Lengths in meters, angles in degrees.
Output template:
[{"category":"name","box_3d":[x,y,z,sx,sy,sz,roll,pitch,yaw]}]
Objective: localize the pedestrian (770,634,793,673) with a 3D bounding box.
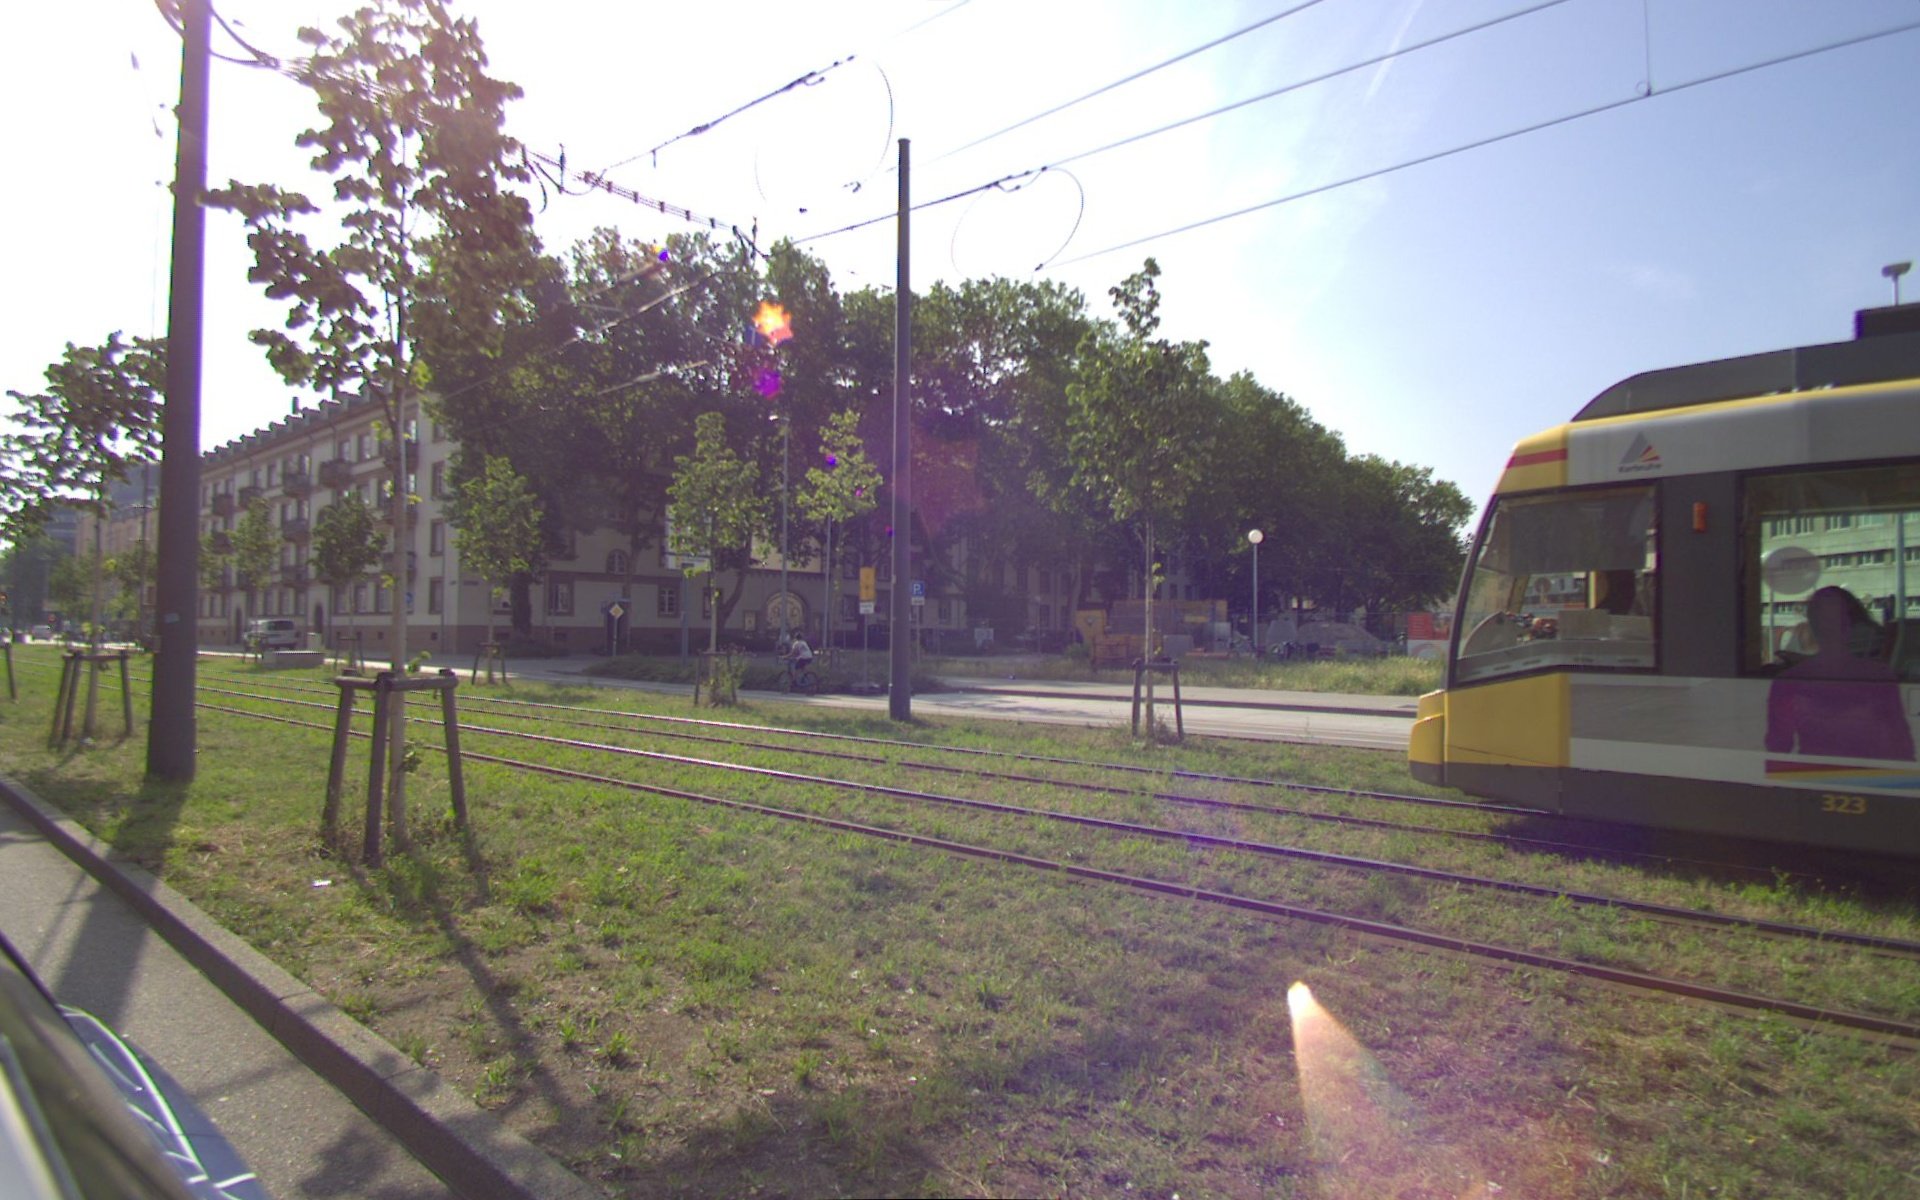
[{"category":"pedestrian","box_3d":[-7.743,2.304,43.862,0.673,1.690,0.731,-1,-2,24]}]

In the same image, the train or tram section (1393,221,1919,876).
[{"category":"train or tram section","box_3d":[8.808,-0.291,4.419,12.469,3.614,2.868,-1,-3,41]}]

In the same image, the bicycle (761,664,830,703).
[{"category":"bicycle","box_3d":[-4.533,2.287,27.784,2.077,0.968,0.655,-1,-4,41]}]

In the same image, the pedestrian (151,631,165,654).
[{"category":"pedestrian","box_3d":[-73.145,3.856,92.316,1.156,2.084,0.833,-2,-2,41]}]

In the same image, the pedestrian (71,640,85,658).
[{"category":"pedestrian","box_3d":[-79.813,4.461,91.583,0.680,1.595,0.796,-2,-3,43]}]

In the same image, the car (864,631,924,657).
[{"category":"car","box_3d":[-4.680,3.118,71.748,3.997,1.763,1.973,-2,-3,40]}]

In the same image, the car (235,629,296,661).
[{"category":"car","box_3d":[-43.875,2.804,63.891,5.150,1.932,1.973,-2,-1,41]}]

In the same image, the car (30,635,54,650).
[{"category":"car","box_3d":[-118.652,5.522,130.811,5.047,1.909,1.971,-2,-3,44]}]

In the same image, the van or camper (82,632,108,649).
[{"category":"van or camper","box_3d":[-99.866,4.663,116.844,4.001,1.983,1.908,-2,-3,45]}]

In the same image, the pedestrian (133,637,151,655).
[{"category":"pedestrian","box_3d":[-84.715,4.774,104.811,0.855,1.882,1.067,0,-2,13]}]

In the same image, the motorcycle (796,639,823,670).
[{"category":"motorcycle","box_3d":[-6.828,2.465,46.007,0.807,1.379,2.295,0,-2,3]}]

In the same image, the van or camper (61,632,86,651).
[{"category":"van or camper","box_3d":[-134.147,6.292,153.136,5.349,2.823,1.973,-2,-3,41]}]

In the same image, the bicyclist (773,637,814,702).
[{"category":"bicyclist","box_3d":[-4.578,1.900,27.834,0.918,1.749,0.640,-1,-4,40]}]
